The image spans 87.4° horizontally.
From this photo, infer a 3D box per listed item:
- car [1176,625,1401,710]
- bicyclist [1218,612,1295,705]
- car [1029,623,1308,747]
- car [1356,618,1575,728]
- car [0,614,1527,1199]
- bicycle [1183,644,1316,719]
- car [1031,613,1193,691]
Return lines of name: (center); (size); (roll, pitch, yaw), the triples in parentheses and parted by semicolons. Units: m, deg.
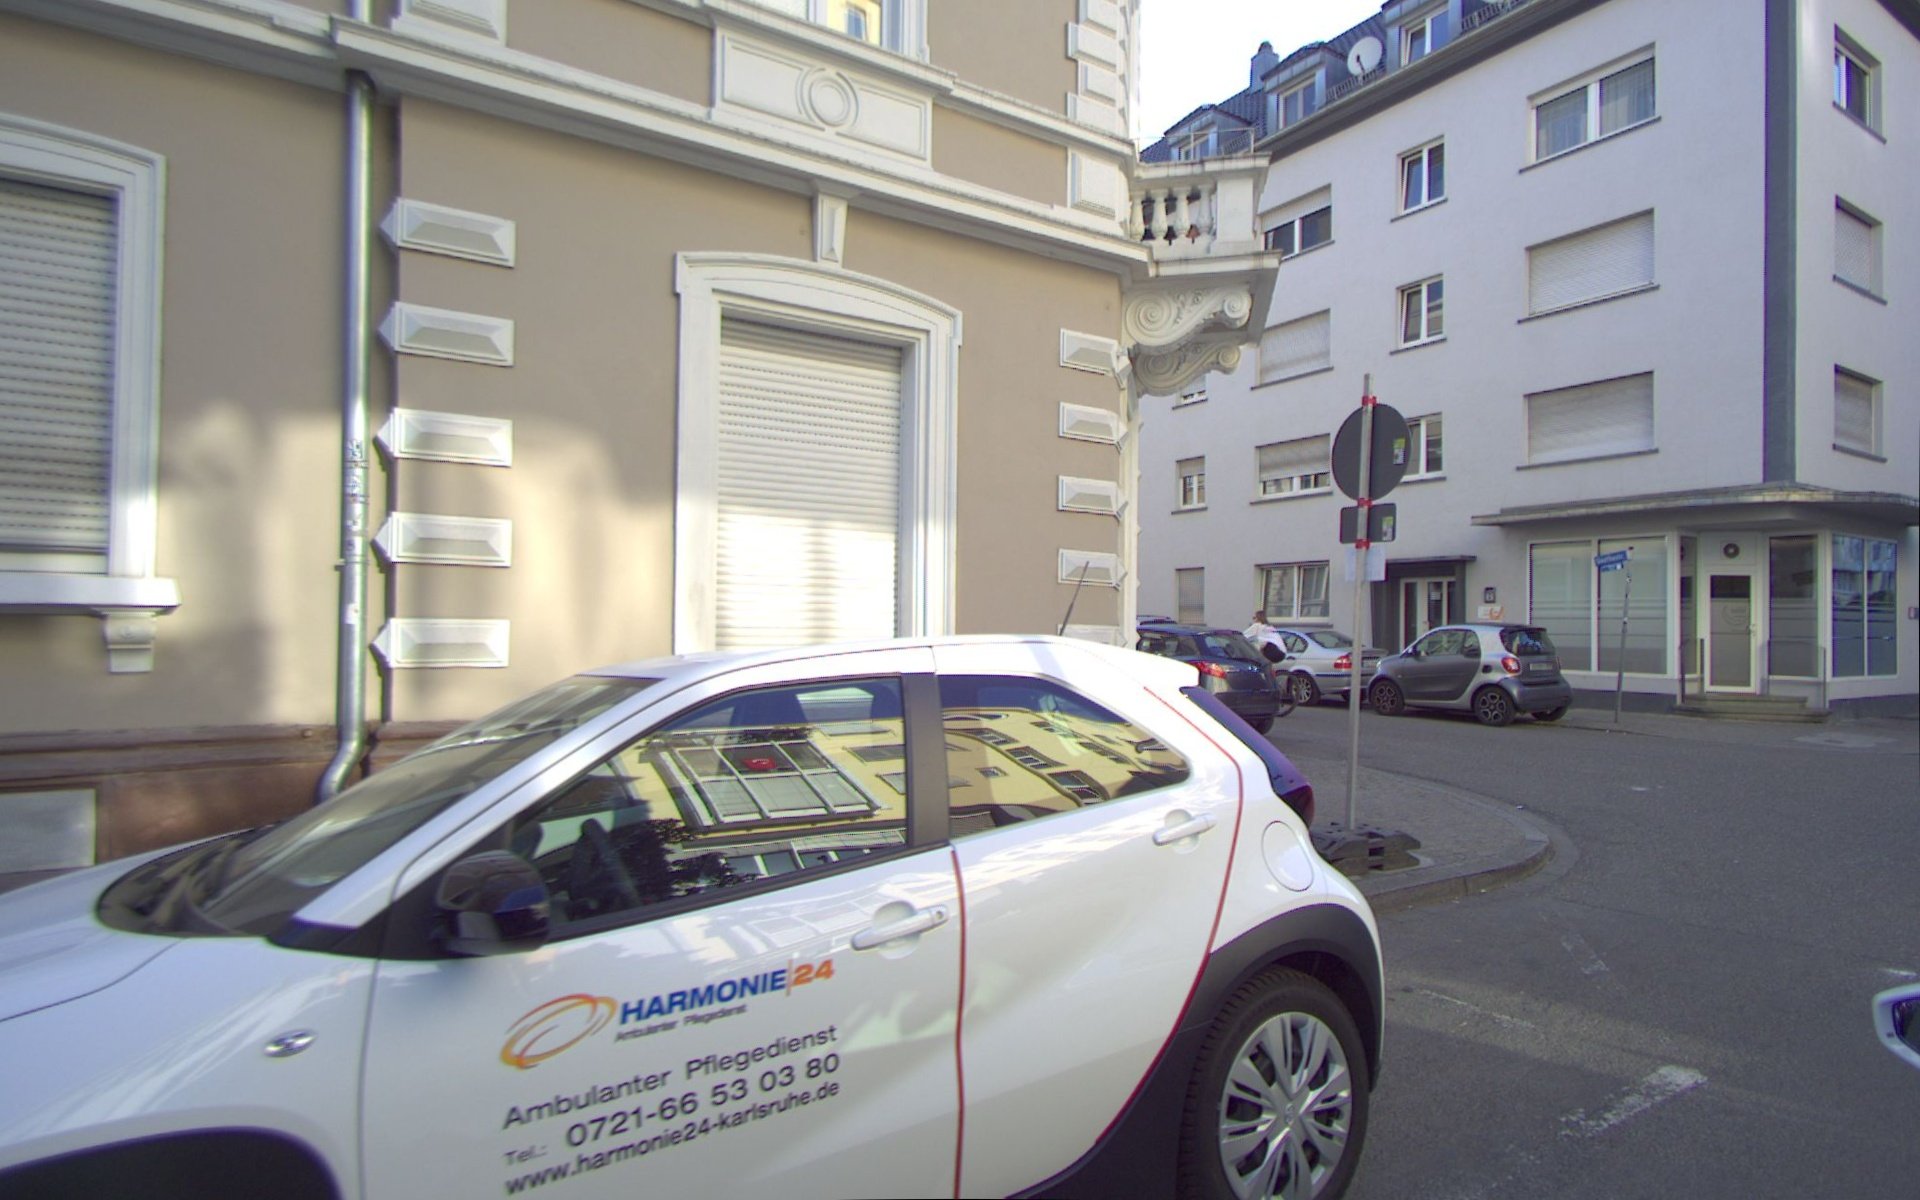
car: (6.340, 1.245, 19.840); (1.586, 1.422, 4.180); (1, -1, -32)
bicyclist: (4.829, 0.930, 16.358); (0.728, 1.431, 0.931); (1, 0, -34)
car: (2.780, 1.074, 14.030); (1.712, 1.470, 3.640); (1, -1, -36)
car: (8.140, 1.111, 16.351); (1.575, 1.560, 2.772); (1, 0, -31)
car: (-0.631, 0.847, 2.643); (4.220, 1.527, 1.911); (1, -3, -32)
bicycle: (4.702, 1.294, 16.468); (0.727, 1.041, 2.095); (1, 0, -34)
car: (3.535, 1.165, 24.012); (1.586, 1.626, 3.994); (1, 0, -33)
